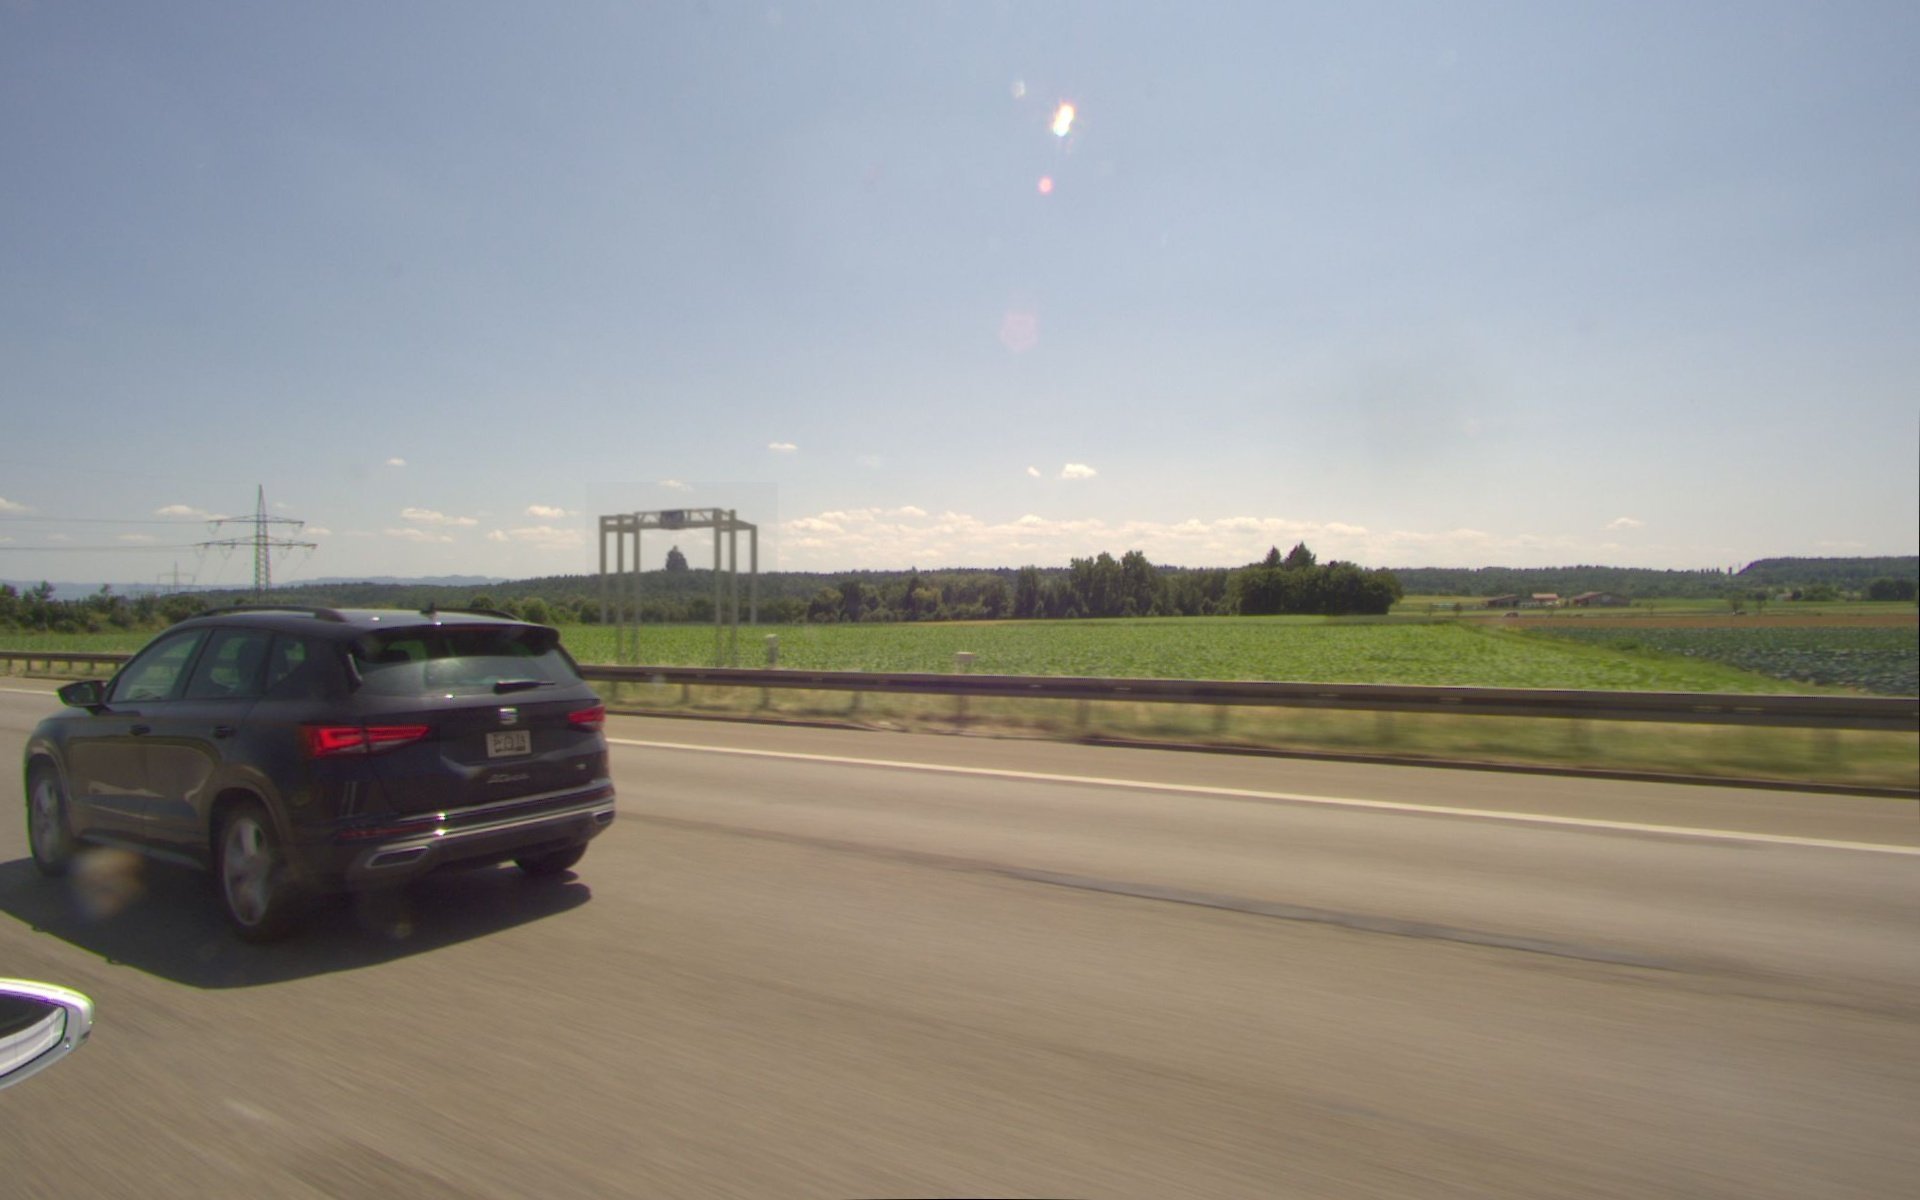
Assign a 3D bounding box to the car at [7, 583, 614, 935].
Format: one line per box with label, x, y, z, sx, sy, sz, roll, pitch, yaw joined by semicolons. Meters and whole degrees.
car;-4.153;0.777;6.291;3.769;1.582;1.794;-1;-2;32
